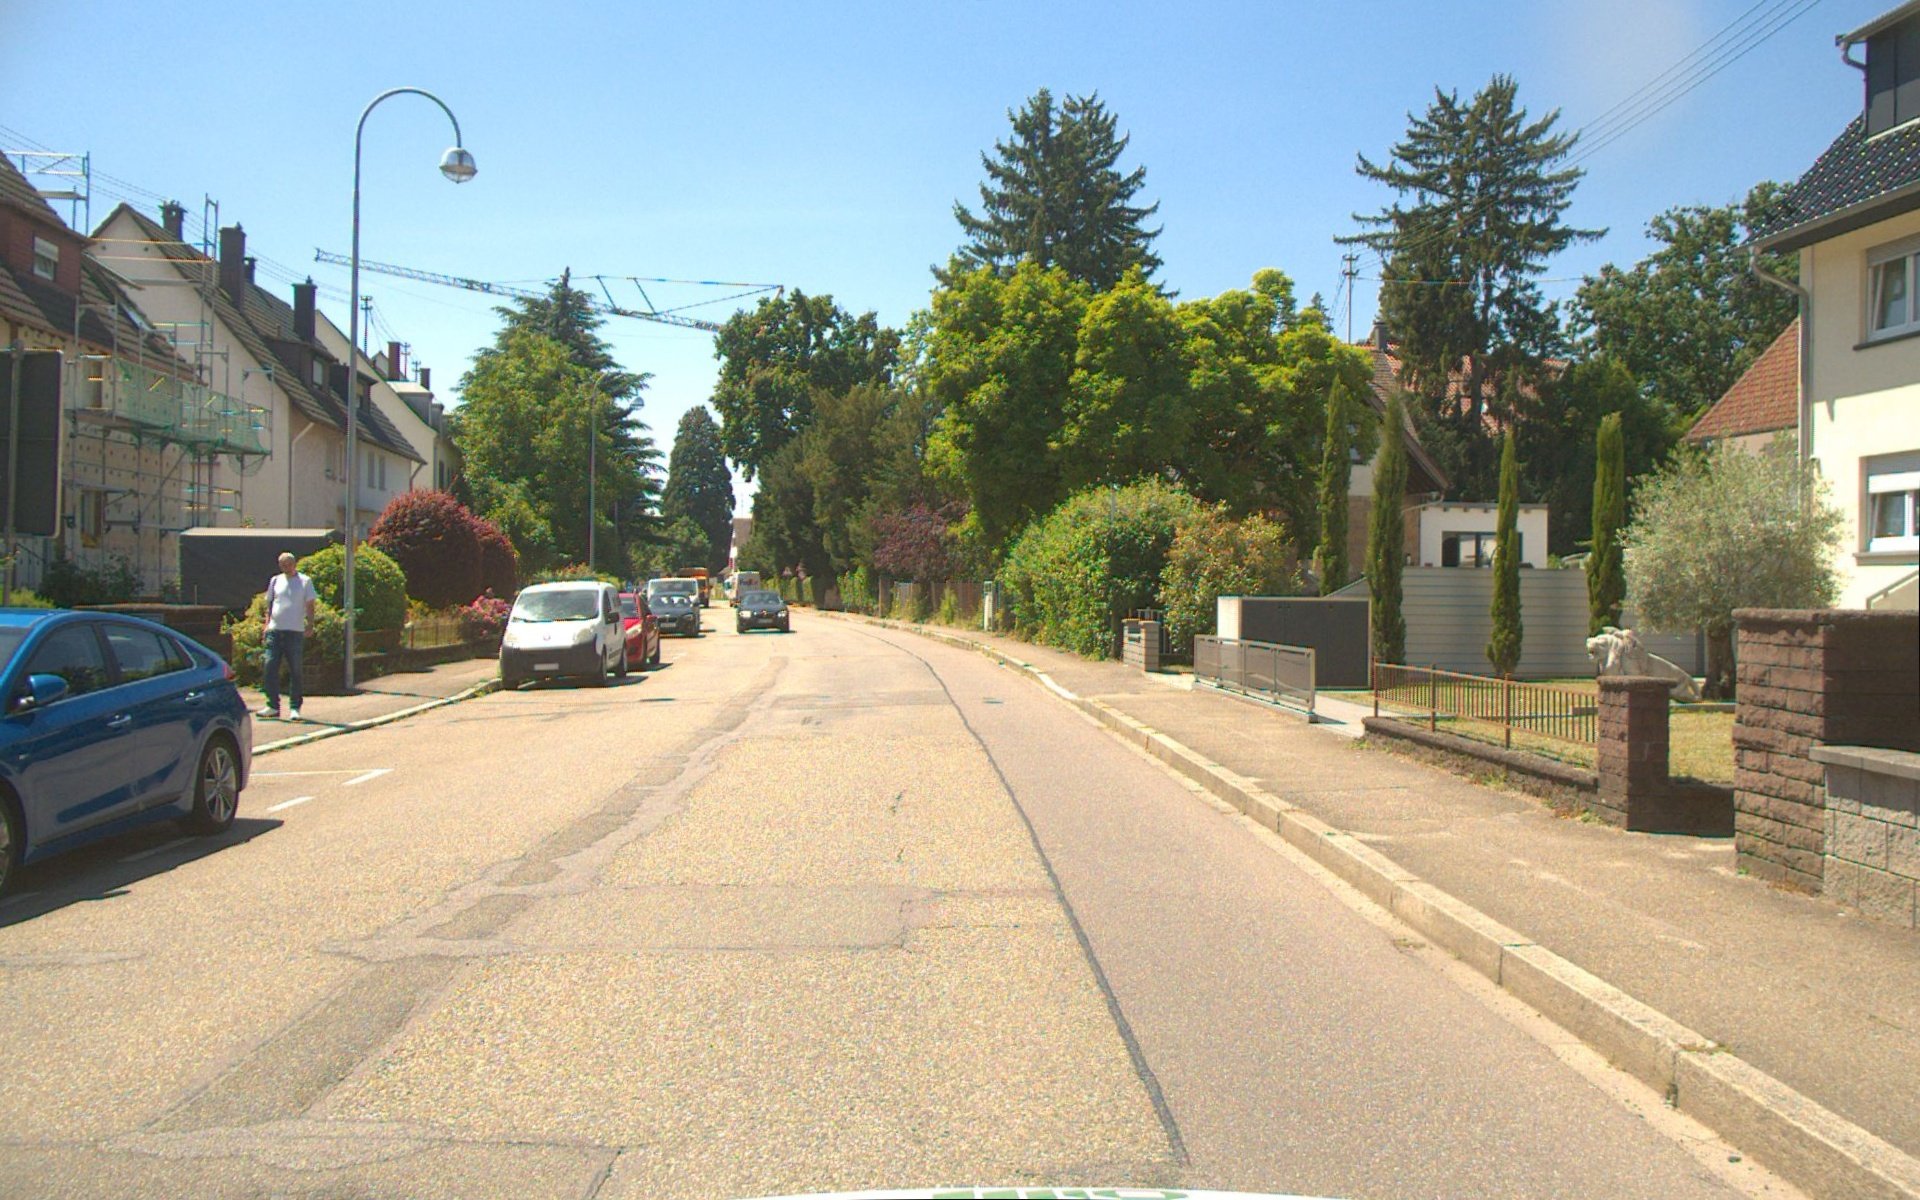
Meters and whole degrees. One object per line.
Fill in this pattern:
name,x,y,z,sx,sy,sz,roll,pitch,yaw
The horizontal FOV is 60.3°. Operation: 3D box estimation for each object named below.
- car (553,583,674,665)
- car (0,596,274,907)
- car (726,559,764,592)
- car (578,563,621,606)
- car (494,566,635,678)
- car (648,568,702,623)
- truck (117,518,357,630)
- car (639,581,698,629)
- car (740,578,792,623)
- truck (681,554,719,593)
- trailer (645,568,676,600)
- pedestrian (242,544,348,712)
car,-6.944,0.437,33.480,1.725,1.503,4.056,-2,1,-3
car,-5.512,0.755,9.080,1.733,1.464,4.361,-2,1,-2
car,-15.865,-1.796,121.713,2.108,2.356,4.833,-1,1,-15
car,-15.884,-0.684,73.016,1.618,1.782,4.344,-1,1,-10
car,-6.708,0.323,28.378,1.689,1.766,3.884,-1,1,-4
car,-10.469,-0.197,60.981,1.851,1.914,4.970,-1,1,-9
truck,-13.208,-0.479,30.369,3.694,1.971,1.545,0,1,-5
car,-9.307,0.129,53.060,1.667,1.408,4.228,-2,1,-8
car,-6.667,0.020,57.111,1.699,1.441,3.995,-1,0,-6
truck,-19.732,-2.002,125.485,2.333,2.879,5.638,-1,1,-14
trailer,-20.509,-1.064,113.254,1.816,2.075,4.149,-2,1,-13
pedestrian,-8.013,0.334,19.960,0.675,1.922,1.019,5,-1,2
